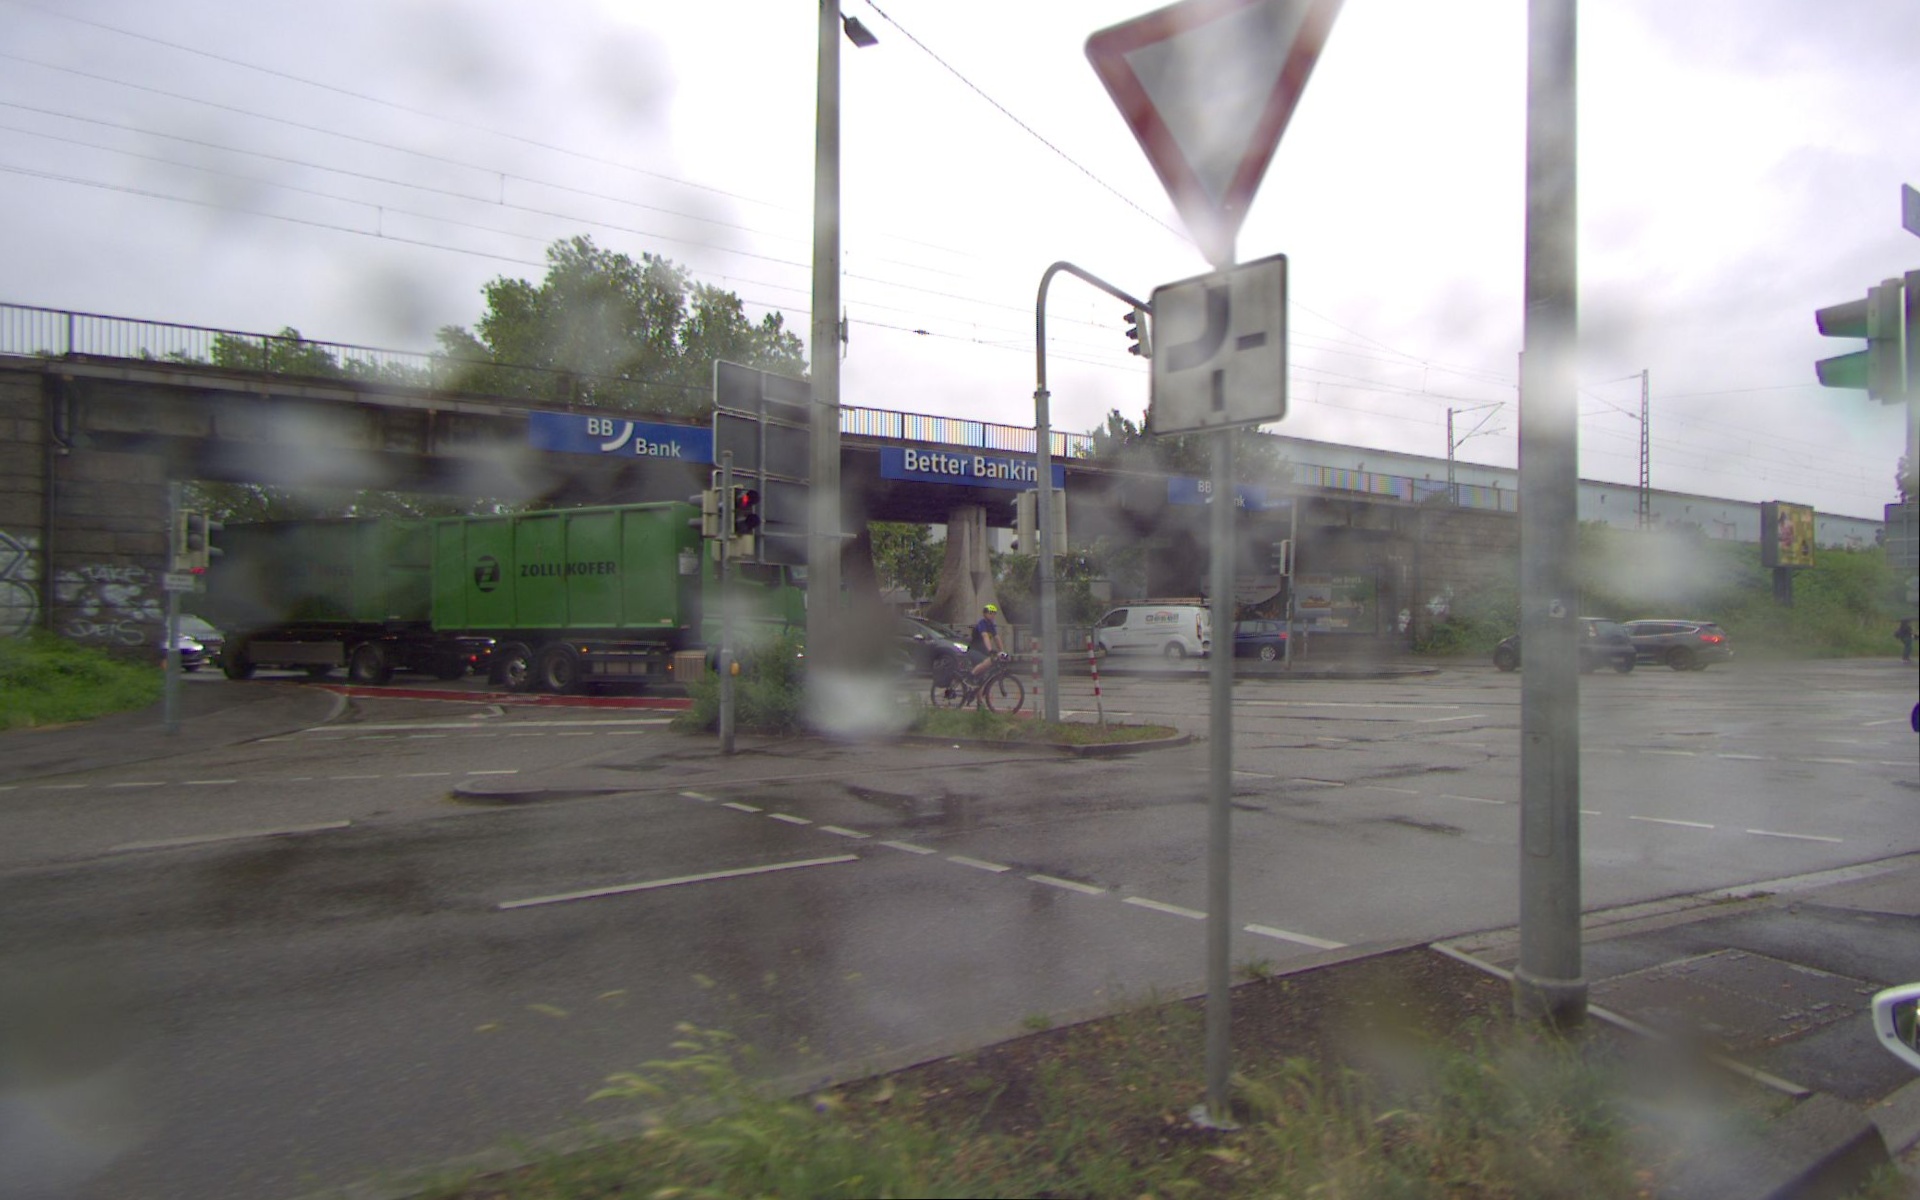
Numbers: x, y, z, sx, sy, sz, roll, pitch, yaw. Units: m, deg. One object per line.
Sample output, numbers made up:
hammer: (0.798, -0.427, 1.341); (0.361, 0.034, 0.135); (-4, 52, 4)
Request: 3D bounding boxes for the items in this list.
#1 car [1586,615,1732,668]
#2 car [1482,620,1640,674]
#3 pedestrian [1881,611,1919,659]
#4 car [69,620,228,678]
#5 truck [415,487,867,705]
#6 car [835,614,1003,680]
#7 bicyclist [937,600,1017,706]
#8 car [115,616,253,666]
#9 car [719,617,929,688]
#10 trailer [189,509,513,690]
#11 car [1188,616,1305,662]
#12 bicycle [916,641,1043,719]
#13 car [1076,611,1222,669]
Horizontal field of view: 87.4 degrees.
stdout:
car: (20.848, 1.218, 30.040); (1.557, 1.493, 3.314); (0, -1, -42)
car: (15.964, 1.219, 26.846); (1.558, 1.323, 3.444); (0, -1, -19)
pedestrian: (34.650, 1.262, 36.960); (0.813, 1.742, 0.994); (0, -1, -39)
car: (-23.797, 1.409, 29.475); (3.923, 1.595, 1.999); (-1, -1, 23)
truck: (-7.048, 0.006, 21.634); (10.000, 4.001, 2.686); (-1, -1, 24)
car: (-1.037, 1.173, 25.517); (3.922, 1.566, 1.660); (-1, -1, 20)
bicyclist: (0.277, 0.815, 15.945); (1.027, 1.615, 0.804); (1, 0, 23)
car: (-26.040, 1.347, 33.708); (3.923, 1.595, 1.999); (-1, -1, 23)
car: (-3.152, 1.163, 23.134); (4.597, 1.505, 1.744); (-1, -1, 26)
trailer: (-15.418, 0.045, 25.317); (8.358, 4.039, 2.688); (0, -1, 24)
car: (10.732, 1.441, 37.602); (3.872, 1.640, 1.997); (-1, -1, 28)
bicycle: (0.308, 1.245, 15.938); (1.876, 1.109, 0.694); (1, 0, 23)
car: (6.761, 1.435, 36.026); (4.733, 1.982, 1.997); (-2, -1, 28)
